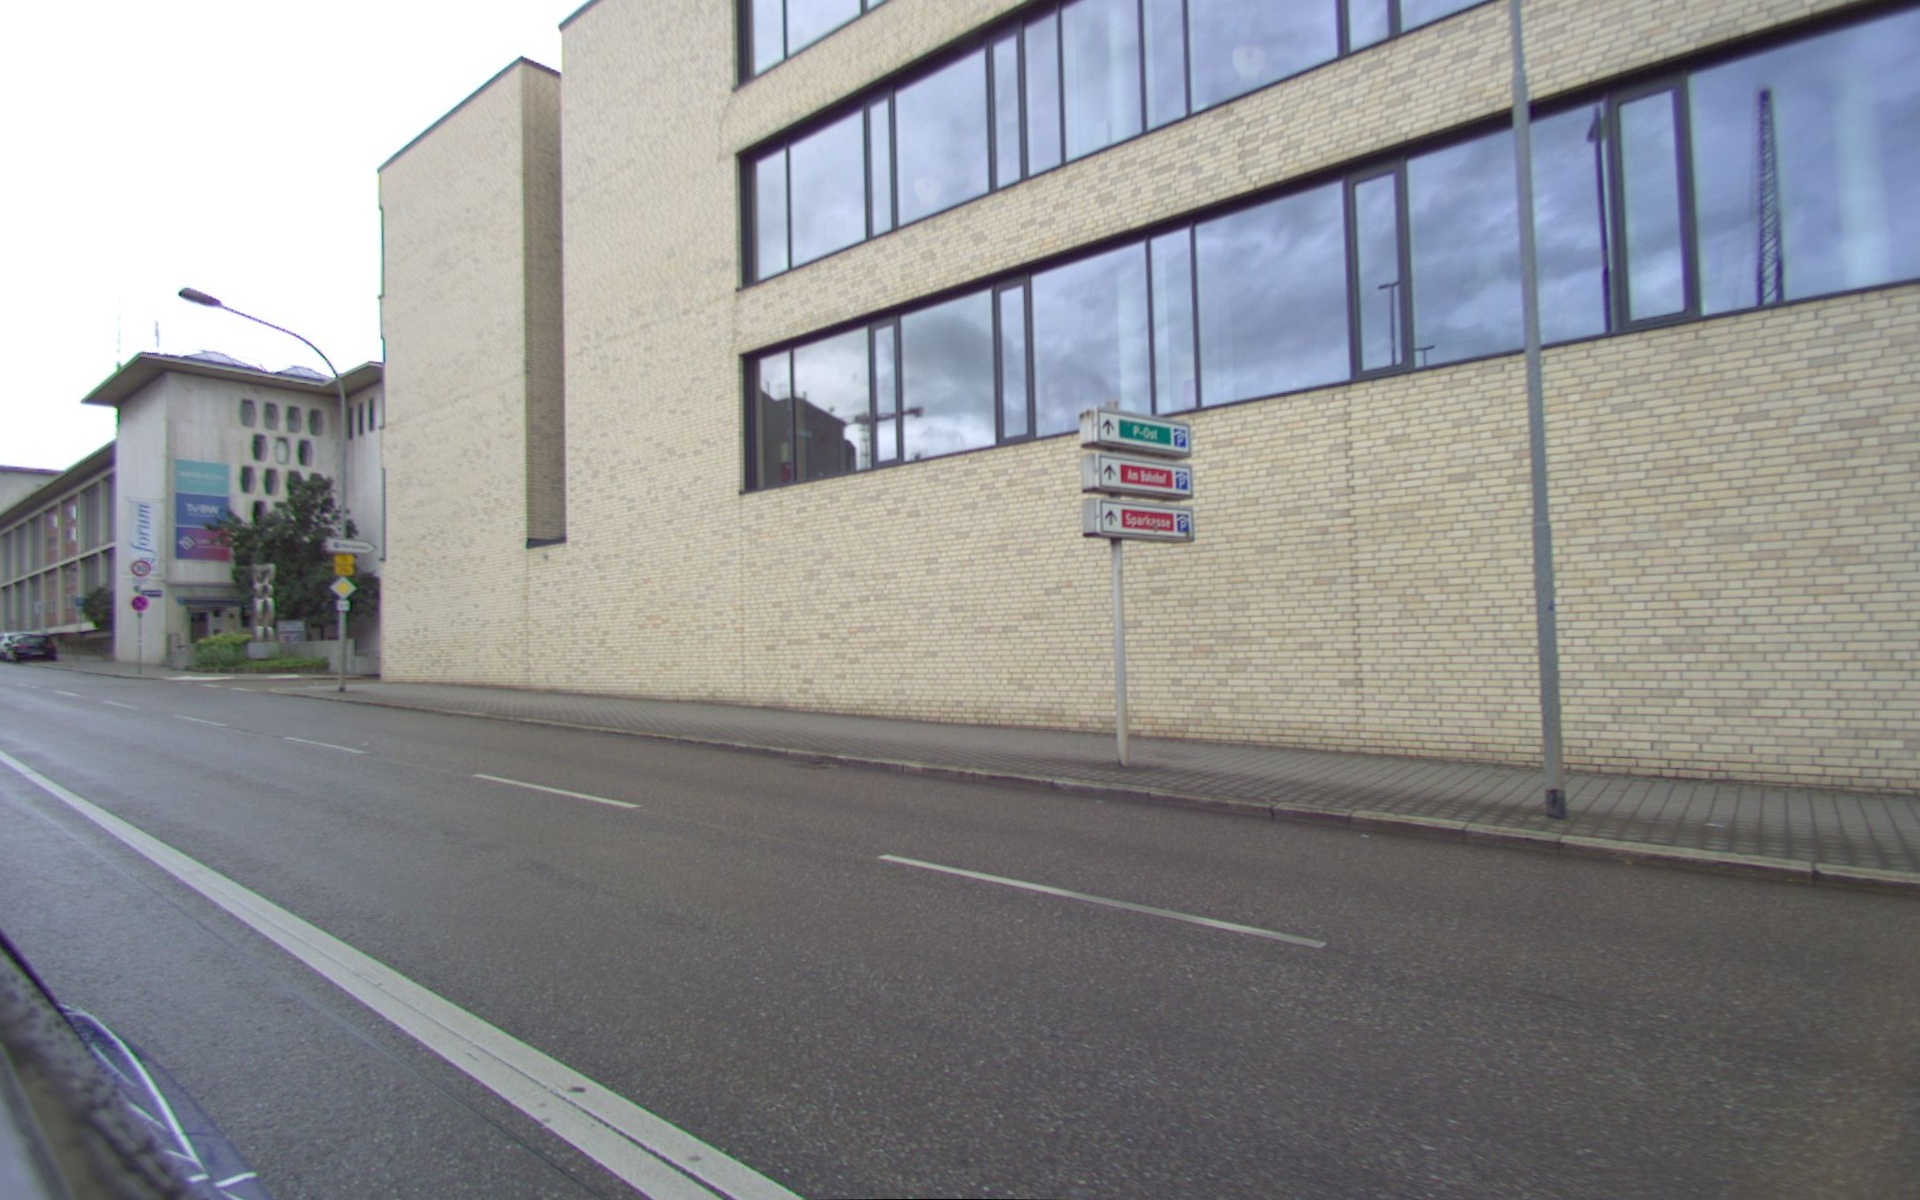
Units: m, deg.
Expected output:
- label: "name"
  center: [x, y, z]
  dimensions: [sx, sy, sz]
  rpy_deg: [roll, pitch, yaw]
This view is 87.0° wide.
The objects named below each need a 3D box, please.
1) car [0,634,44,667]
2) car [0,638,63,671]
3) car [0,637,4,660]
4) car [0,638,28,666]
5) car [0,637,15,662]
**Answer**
- label: "car"
  center: [-53.720, 2.842, 57.498]
  dimensions: [3.997, 1.654, 1.973]
  rpy_deg: [-1, 1, 40]
- label: "car"
  center: [-49.495, 2.845, 53.863]
  dimensions: [3.996, 1.541, 1.974]
  rpy_deg: [-1, 1, 39]
- label: "car"
  center: [-66.115, 3.238, 68.188]
  dimensions: [3.996, 1.541, 1.974]
  rpy_deg: [-1, -2, 39]
- label: "car"
  center: [-57.655, 3.123, 60.845]
  dimensions: [3.998, 1.523, 1.973]
  rpy_deg: [-1, 1, 41]
- label: "car"
  center: [-61.704, 3.178, 64.259]
  dimensions: [4.183, 1.502, 1.973]
  rpy_deg: [-1, 1, 40]
